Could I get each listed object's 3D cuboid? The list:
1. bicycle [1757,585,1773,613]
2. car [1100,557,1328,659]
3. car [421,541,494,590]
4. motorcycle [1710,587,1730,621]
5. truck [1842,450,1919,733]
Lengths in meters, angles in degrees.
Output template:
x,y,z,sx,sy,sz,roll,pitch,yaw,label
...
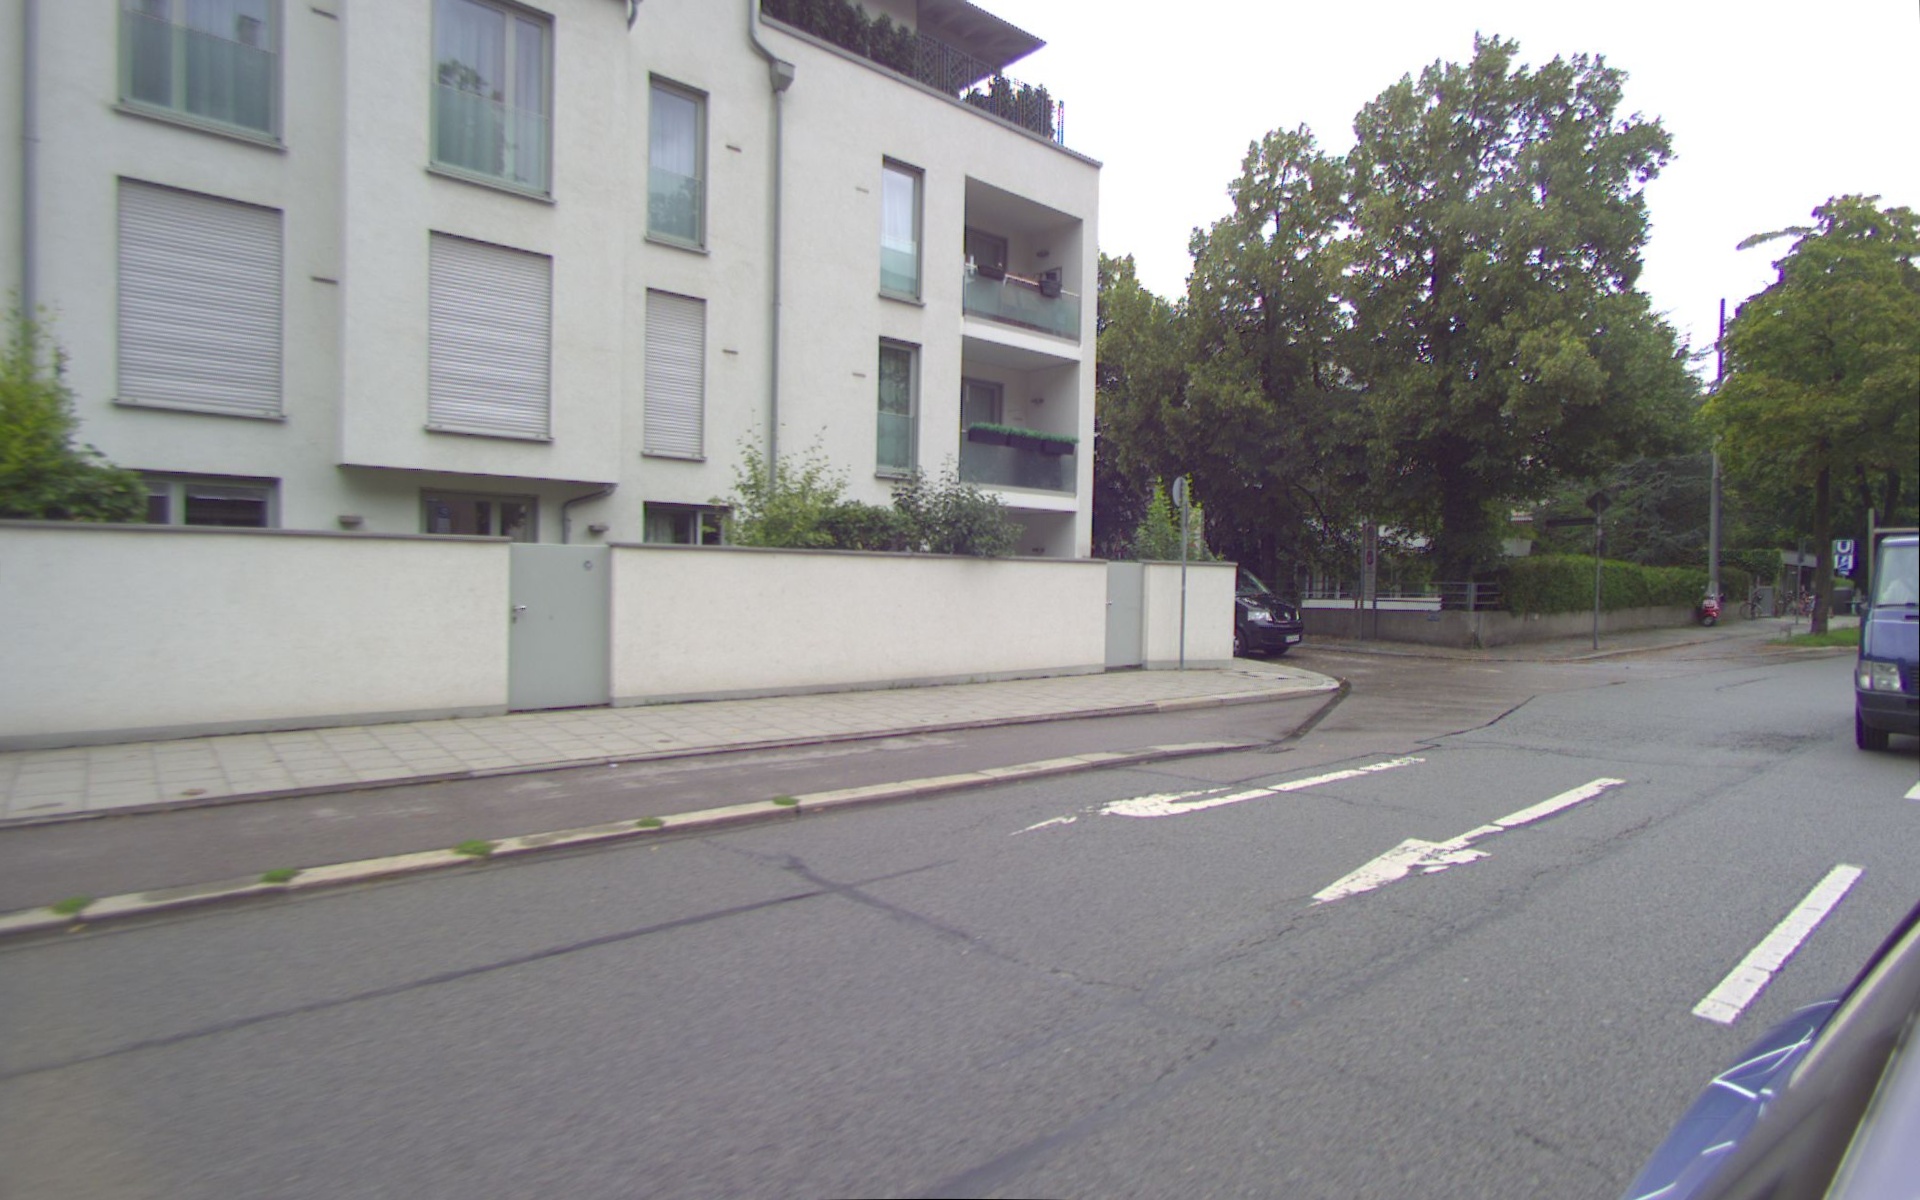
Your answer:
x,y,z,sx,sy,sz,roll,pitch,yaw,label
32.826,-0.054,41.251,0.488,1.112,1.610,2,2,39,bicycle
5.386,0.057,22.074,1.841,1.947,4.734,-1,3,-37,car
-21.659,-1.506,43.561,1.836,2.005,4.222,-1,3,-41,car
27.295,0.130,36.334,0.494,1.156,1.610,2,2,39,motorcycle
10.801,-0.070,10.290,5.060,2.520,1.998,0,2,-41,truck
